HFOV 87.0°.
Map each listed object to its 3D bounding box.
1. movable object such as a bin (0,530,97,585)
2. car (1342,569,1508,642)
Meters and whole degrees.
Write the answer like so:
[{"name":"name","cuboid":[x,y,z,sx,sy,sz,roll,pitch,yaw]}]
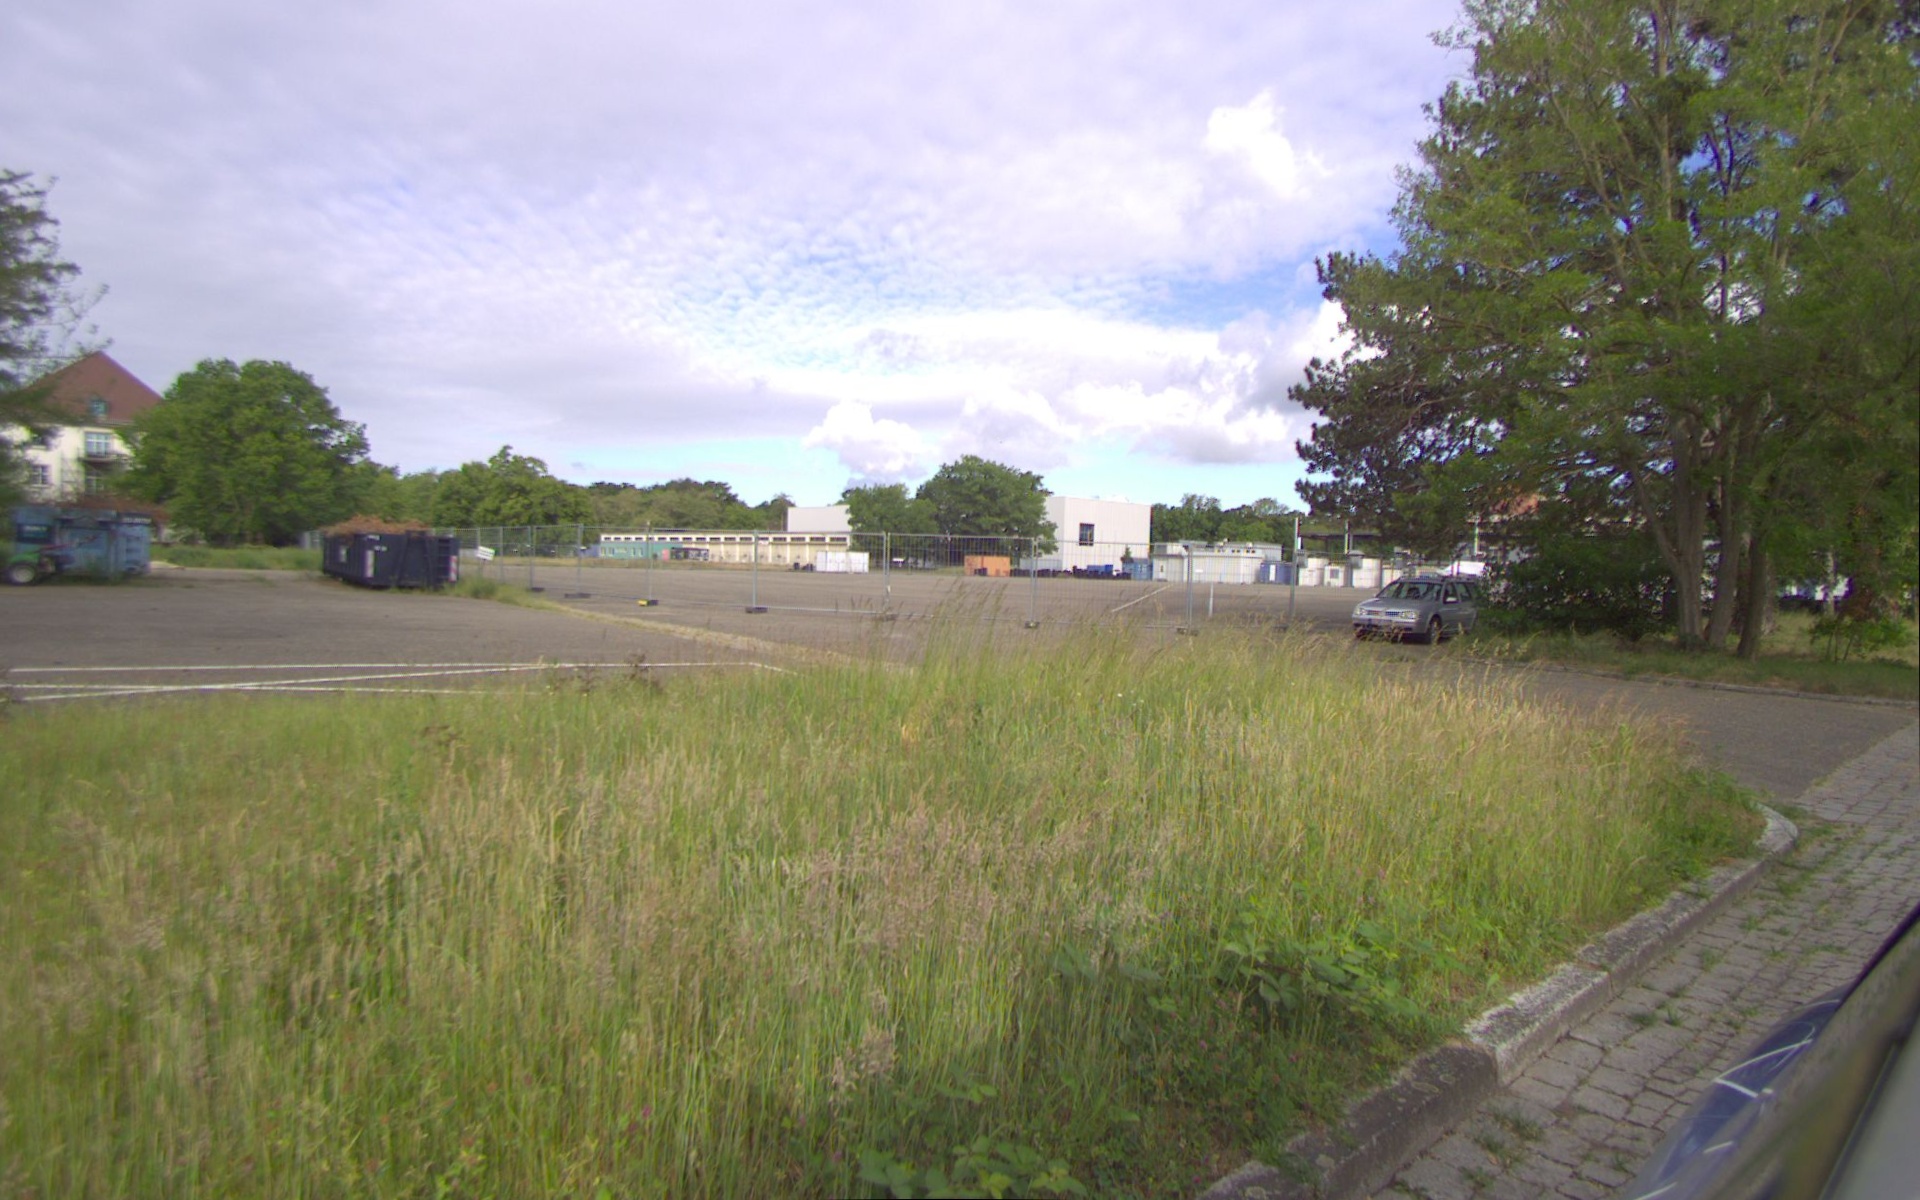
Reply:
[{"name":"movable object such as a bin","cuboid":[-20.070,-0.931,21.577,2.499,1.097,1.064,1,2,-42]},{"name":"car","cuboid":[10.665,0.098,23.097,4.250,1.466,1.759,0,3,-40]}]
